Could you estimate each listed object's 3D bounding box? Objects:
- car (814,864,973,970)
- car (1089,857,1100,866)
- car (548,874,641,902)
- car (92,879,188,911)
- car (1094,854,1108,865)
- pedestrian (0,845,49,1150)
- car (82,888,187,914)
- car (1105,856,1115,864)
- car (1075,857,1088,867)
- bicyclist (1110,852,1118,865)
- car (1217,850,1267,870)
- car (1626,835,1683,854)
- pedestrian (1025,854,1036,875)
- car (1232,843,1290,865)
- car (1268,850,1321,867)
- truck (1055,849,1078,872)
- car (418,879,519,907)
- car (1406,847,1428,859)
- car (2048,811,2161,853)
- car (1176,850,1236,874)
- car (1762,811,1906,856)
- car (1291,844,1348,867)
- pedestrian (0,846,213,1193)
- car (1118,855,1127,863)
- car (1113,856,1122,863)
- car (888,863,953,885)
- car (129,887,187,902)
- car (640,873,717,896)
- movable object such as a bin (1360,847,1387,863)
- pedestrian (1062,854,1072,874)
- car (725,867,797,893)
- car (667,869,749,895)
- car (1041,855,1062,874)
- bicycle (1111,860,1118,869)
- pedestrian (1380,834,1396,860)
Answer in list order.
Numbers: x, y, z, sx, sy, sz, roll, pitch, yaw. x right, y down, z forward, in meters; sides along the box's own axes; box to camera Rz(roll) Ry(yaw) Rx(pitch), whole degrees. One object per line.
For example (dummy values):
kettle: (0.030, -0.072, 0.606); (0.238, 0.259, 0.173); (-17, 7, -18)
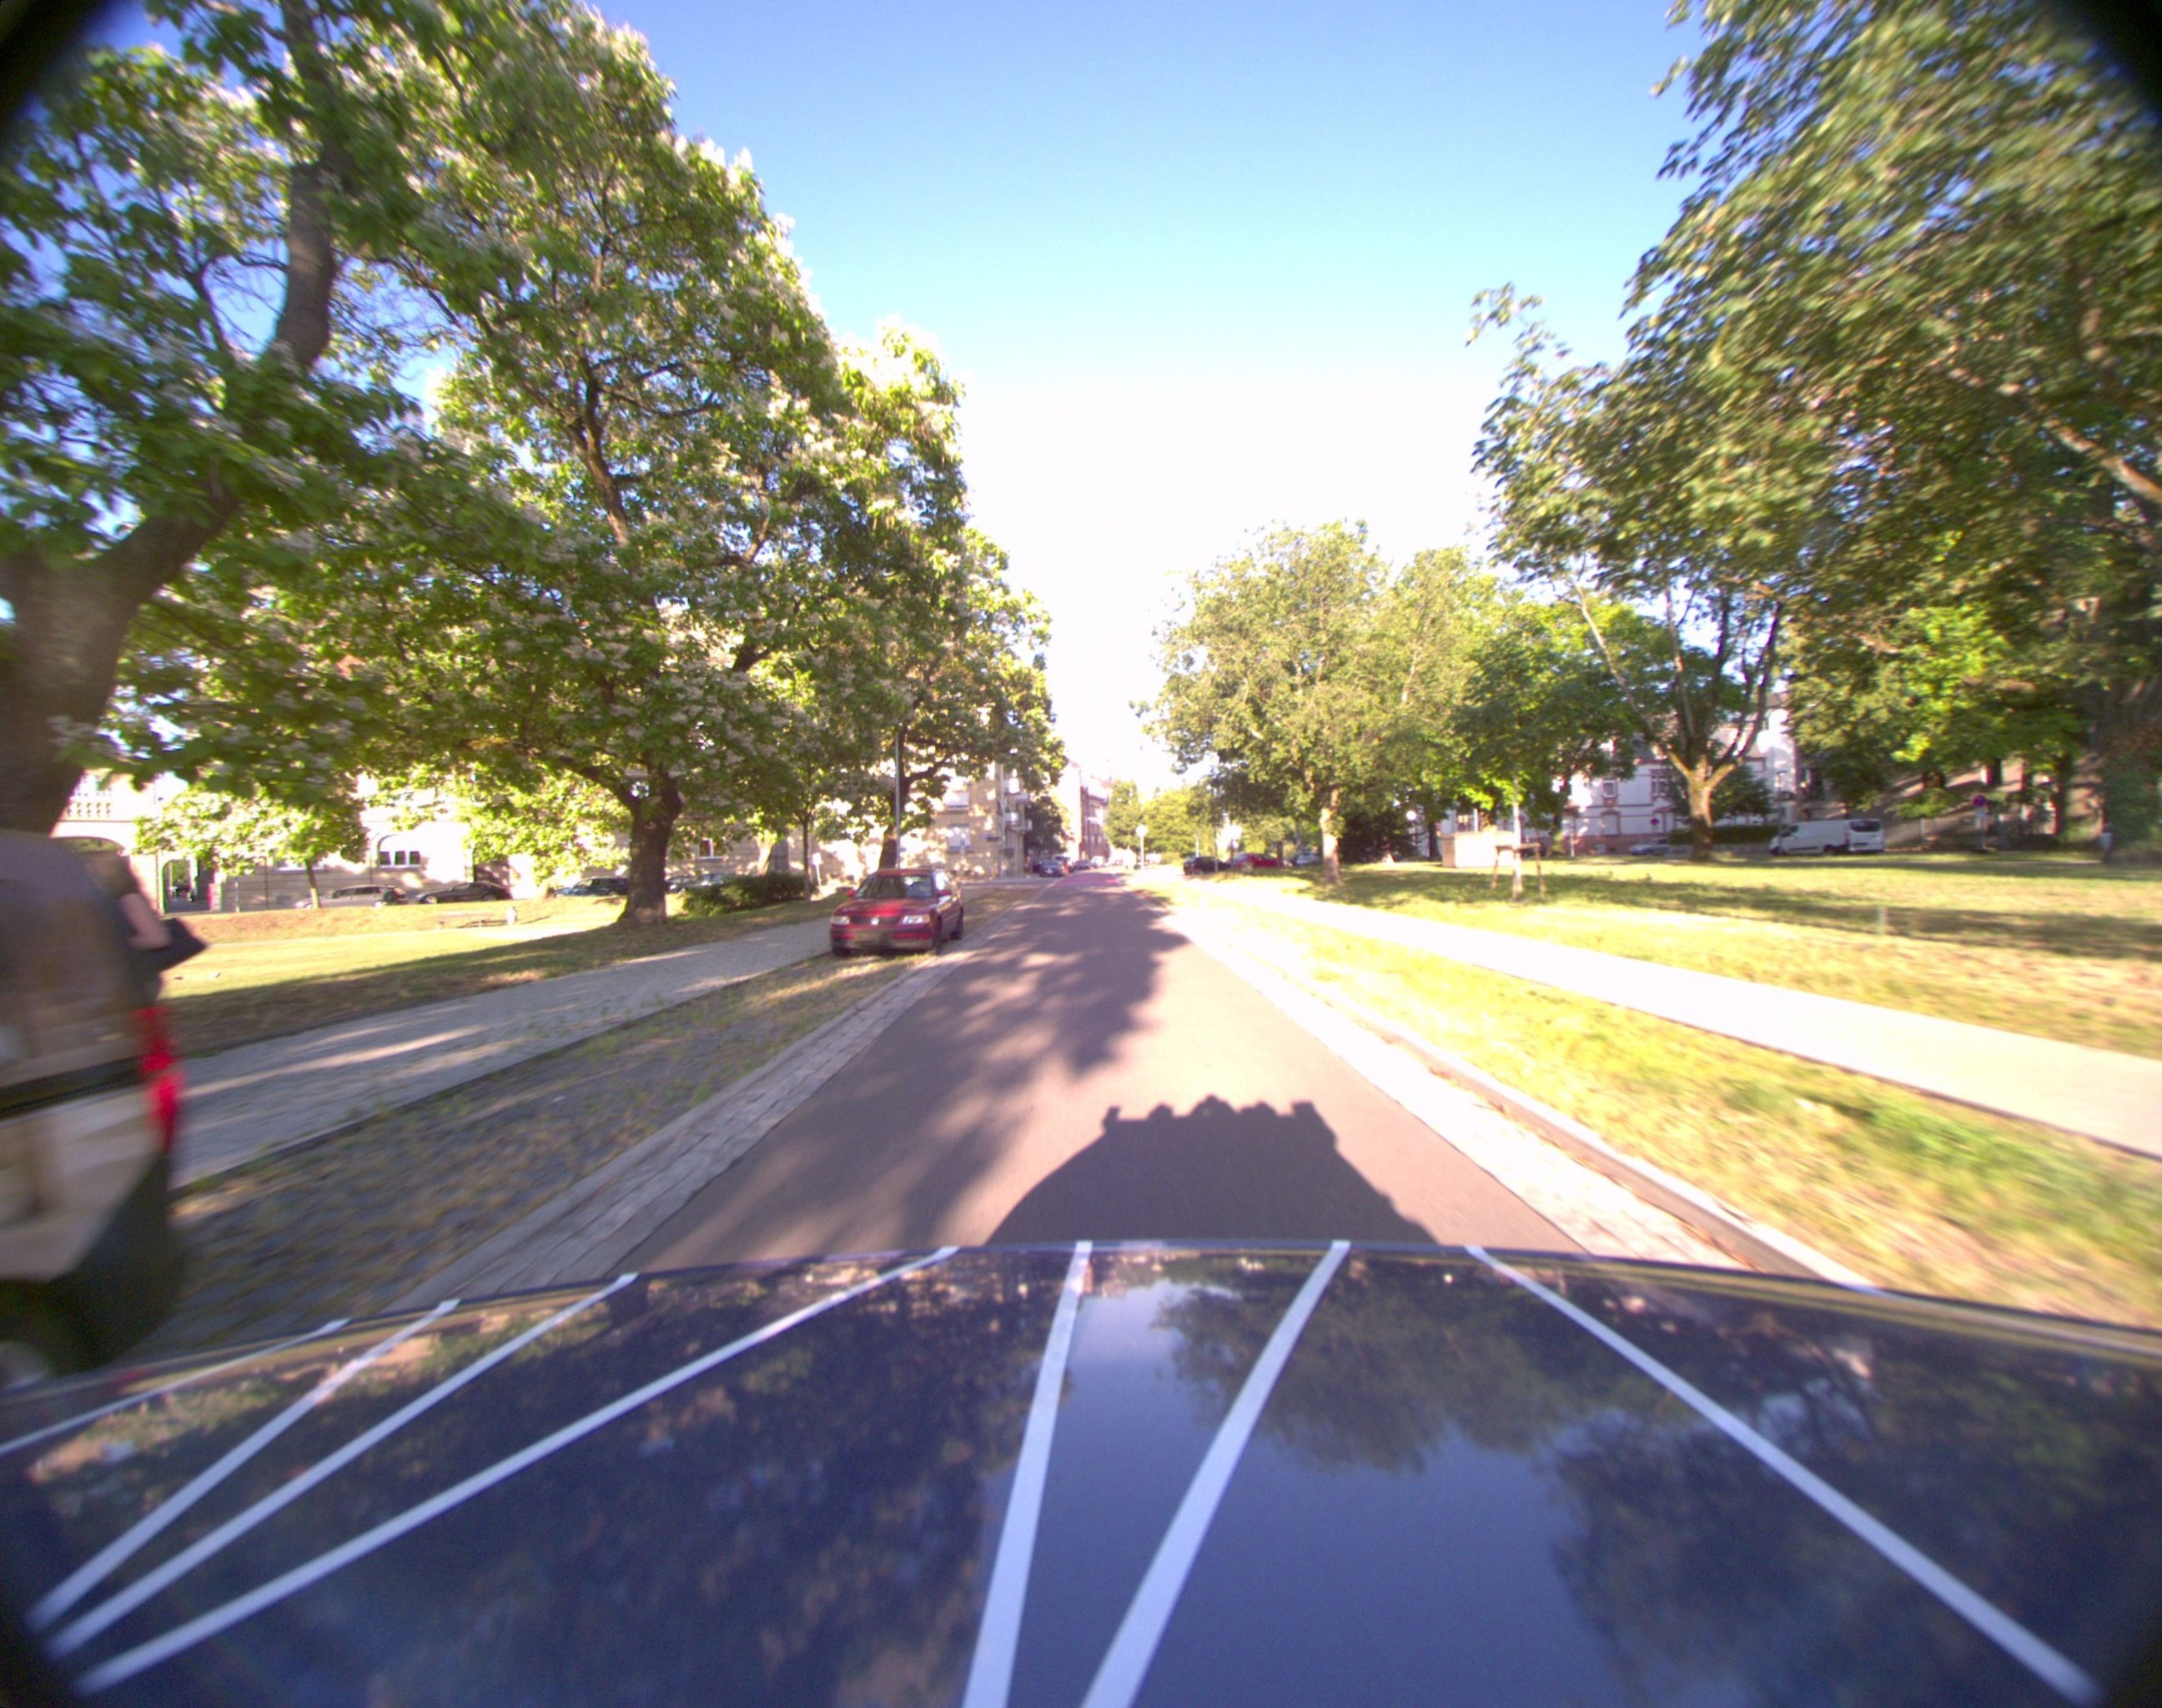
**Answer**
car: (-3.201, 0.994, 13.989); (1.682, 1.477, 4.809); (-2, 0, 0)
car: (2.343, 1.251, 128.635); (1.509, 1.437, 3.731); (-2, 0, 7)
car: (-28.944, 2.024, 45.379); (4.443, 1.409, 1.564); (-2, 1, -23)
car: (-70.180, 2.990, 56.721); (1.814, 2.096, 4.380); (-1, 1, 38)
car: (3.740, 1.001, 141.055); (2.118, 1.942, 4.763); (-2, 0, 8)
pedestrian: (-6.513, 0.825, 4.128); (0.727, 1.726, 0.732); (-3, 0, 1)
car: (-65.444, 3.213, 52.609); (1.814, 1.409, 4.380); (-1, 1, 35)
car: (5.705, 1.170, 150.113); (1.582, 1.499, 3.848); (-2, 0, 7)
car: (0.095, 1.226, 112.876); (1.610, 1.349, 3.549); (-2, 0, 7)
bicyclist: (4.610, 0.620, 106.320); (0.939, 1.693, 0.906); (-2, 0, 7)
car: (13.813, 0.516, 65.139); (3.851, 1.622, 1.836); (-2, 1, -23)
car: (53.844, -0.921, 71.378); (3.997, 1.565, 1.890); (-2, 2, 0)
pedestrian: (-4.533, 0.958, 68.381); (0.733, 1.819, 0.555); (-3, 0, -35)
car: (13.945, -0.020, 58.913); (4.004, 1.565, 1.887); (-3, 2, -24)
car: (18.879, 0.404, 67.116); (4.281, 1.392, 1.837); (-2, 1, -21)
truck: (-1.663, 0.767, 89.469); (2.133, 2.549, 6.877); (-2, 0, 3)
car: (-38.308, 2.422, 47.673); (4.657, 1.409, 1.815); (-2, 1, -31)
car: (49.317, -0.138, 111.588); (1.888, 1.565, 4.601); (-2, 2, 11)
car: (42.487, -0.892, 30.725); (1.998, 1.608, 3.738); (-3, 0, 1)
car: (9.414, 0.591, 57.246); (4.004, 1.565, 1.887); (-3, 2, -24)
car: (39.394, -1.026, 39.989); (2.676, 2.101, 4.969); (-3, 0, 2)
car: (19.073, 0.100, 60.777); (4.003, 1.565, 1.887); (-3, 2, -20)
pedestrian: (-5.592, 0.841, 4.158); (0.755, 1.726, 0.732); (-3, 0, 1)
car: (9.235, 1.116, 167.848); (1.582, 1.499, 3.849); (-2, 0, 8)
car: (7.790, 1.197, 160.926); (1.582, 1.499, 3.849); (-2, 0, 8)
car: (-11.693, 1.428, 55.583); (4.452, 1.410, 1.935); (-2, 1, -5)
car: (-112.150, 4.903, 92.416); (1.814, 1.409, 4.380); (-1, 1, 41)
car: (-27.648, 2.080, 52.322); (4.458, 1.316, 1.502); (-2, 1, -21)
movable object such as a bin: (18.965, 0.040, 49.232); (1.333, 0.984, 0.949); (-2, 1, -2)
pedestrian: (-1.246, 0.900, 69.015); (0.778, 1.759, 0.955); (-3, 0, 2)
car: (-22.618, 1.802, 53.855); (4.456, 1.590, 1.800); (-2, 1, -17)
car: (-23.281, 1.714, 47.550); (4.370, 1.409, 1.842); (-2, 1, -19)
car: (-2.592, 0.960, 67.505); (1.707, 1.616, 4.349); (0, -1, 1)
bicycle: (4.633, 1.496, 106.212); (0.739, 1.129, 2.105); (-2, 0, 7)
pedestrian: (19.925, -0.451, 49.329); (0.663, 1.686, 0.672); (-3, 0, -1)
